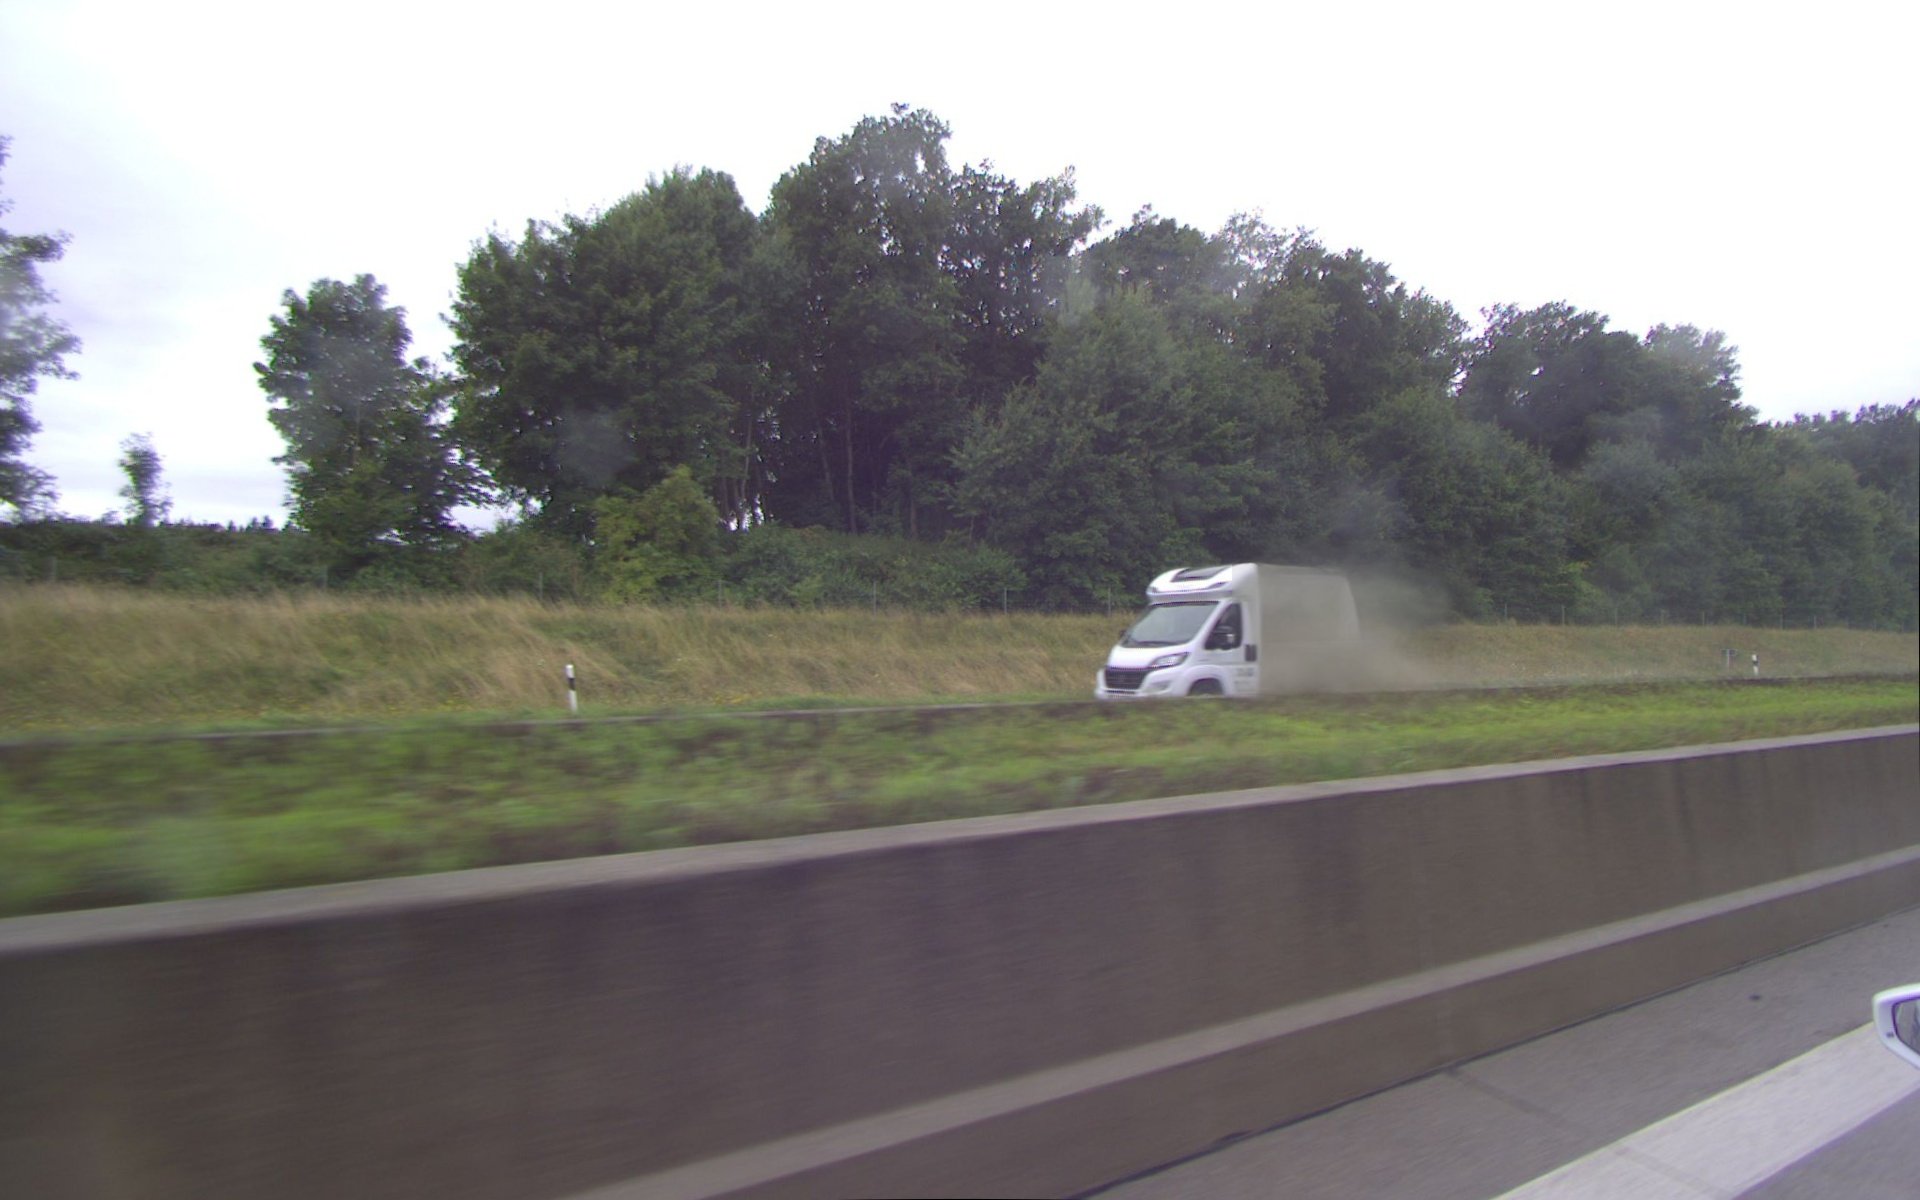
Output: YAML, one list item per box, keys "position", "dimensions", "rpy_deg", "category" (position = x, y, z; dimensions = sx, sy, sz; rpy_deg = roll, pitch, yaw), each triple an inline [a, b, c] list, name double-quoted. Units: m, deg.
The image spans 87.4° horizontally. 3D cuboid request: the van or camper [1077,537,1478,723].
- position: [5.853, 0.593, 17.951]
  dimensions: [7.624, 2.771, 2.401]
  rpy_deg: [2, -3, -31]
  category: "van or camper"
